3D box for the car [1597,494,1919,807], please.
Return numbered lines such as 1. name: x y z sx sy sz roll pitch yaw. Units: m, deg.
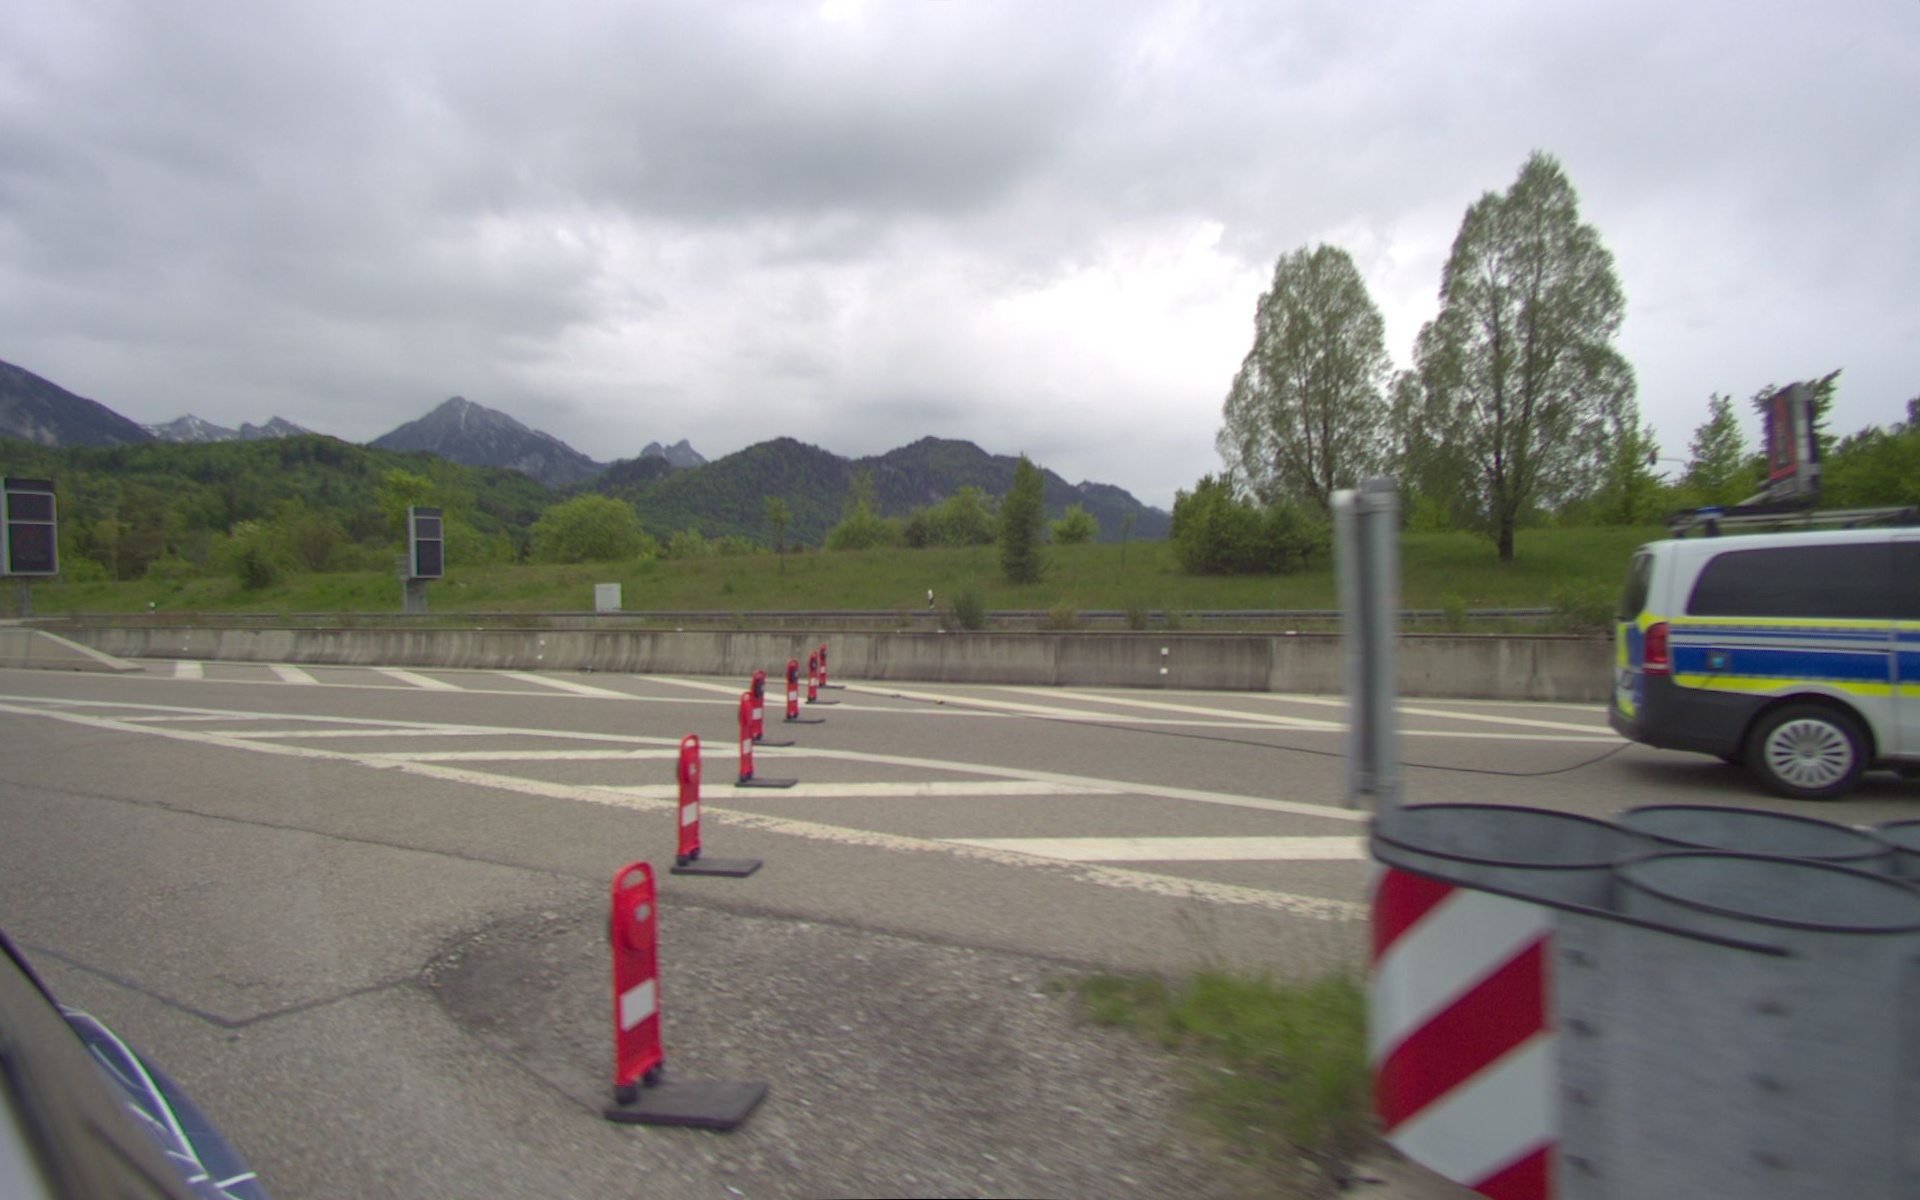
1. car: 7.599 0.318 7.132 5.024 2.029 2.273 0 0 27
